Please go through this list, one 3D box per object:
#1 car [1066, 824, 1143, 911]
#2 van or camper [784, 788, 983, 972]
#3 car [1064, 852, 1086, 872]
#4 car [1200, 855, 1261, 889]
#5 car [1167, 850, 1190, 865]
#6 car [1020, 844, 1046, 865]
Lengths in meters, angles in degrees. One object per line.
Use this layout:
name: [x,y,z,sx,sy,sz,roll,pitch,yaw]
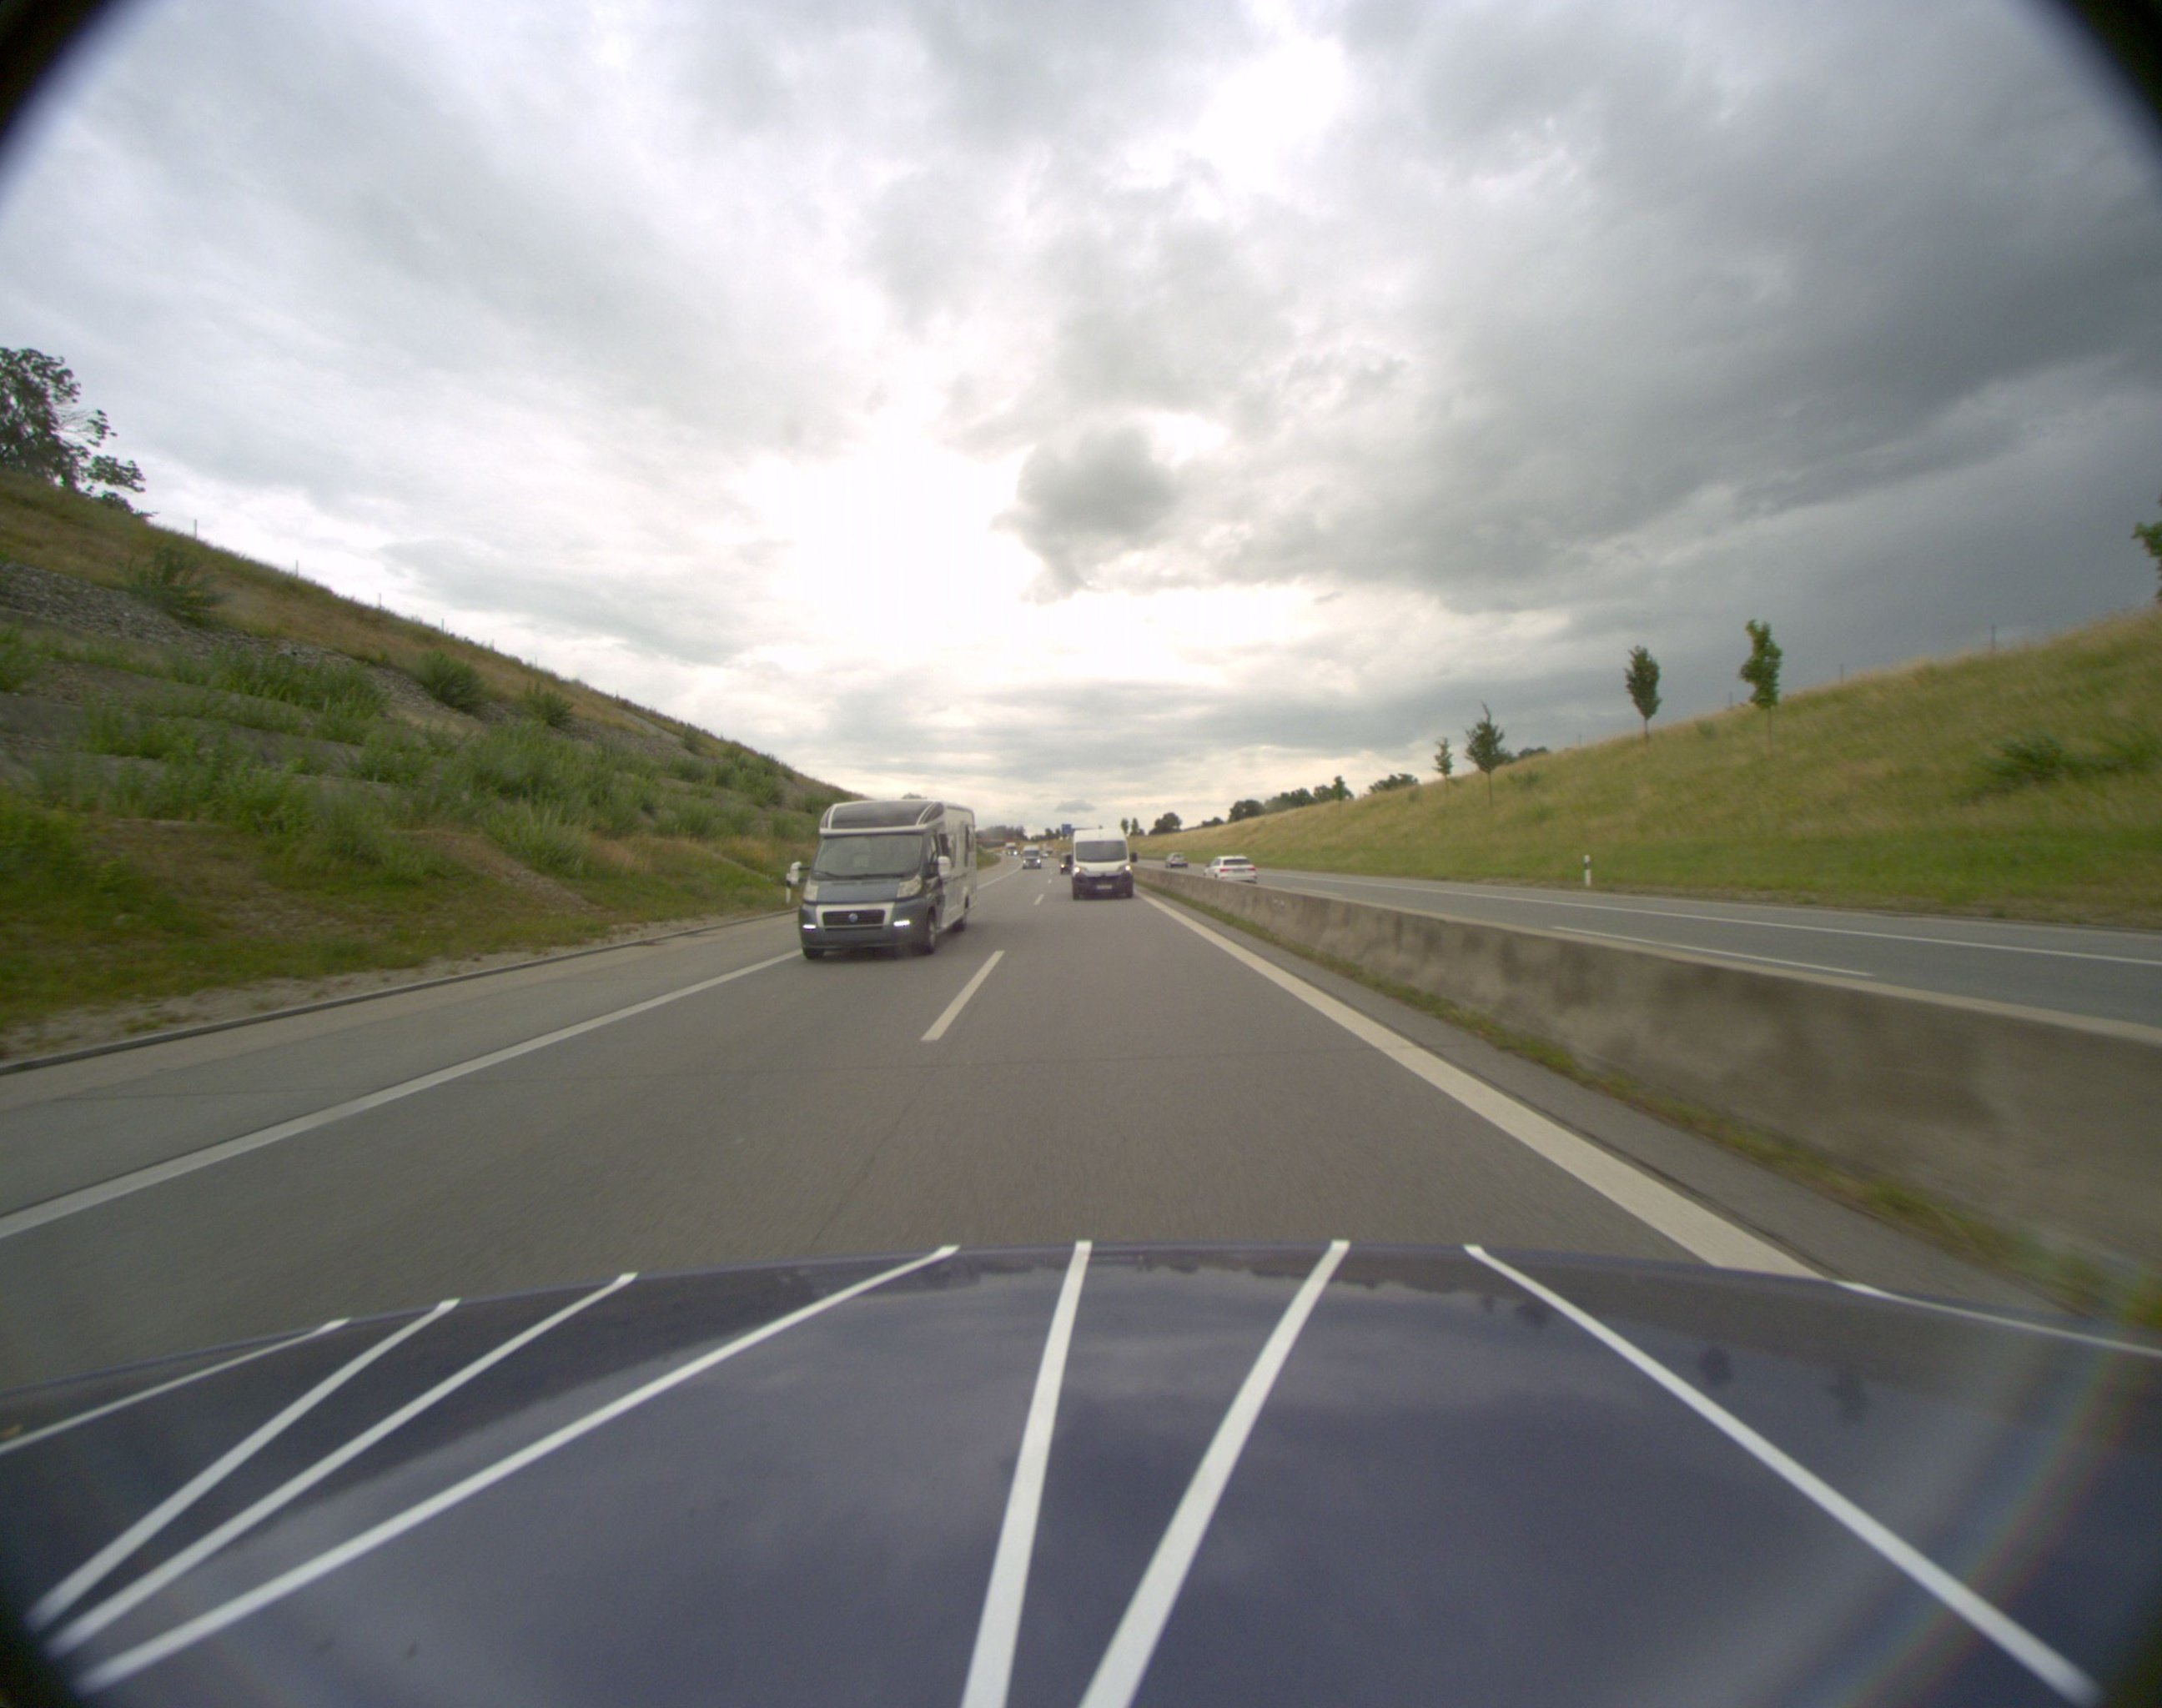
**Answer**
car: [0.679,0.358,24.521,2.132,2.412,6.111,-1,0,0]
van or camper: [-3.429,0.382,14.941,2.103,2.721,6.901,-2,0,-1]
car: [-0.505,0.608,59.862,1.703,1.432,3.644,-1,0,-2]
car: [6.847,0.770,35.219,1.788,1.402,4.908,-1,0,-1]
car: [9.614,0.346,75.093,1.703,1.432,3.644,-1,0,-2]
car: [-5.339,0.073,85.280,2.289,2.259,6.432,-1,0,1]
